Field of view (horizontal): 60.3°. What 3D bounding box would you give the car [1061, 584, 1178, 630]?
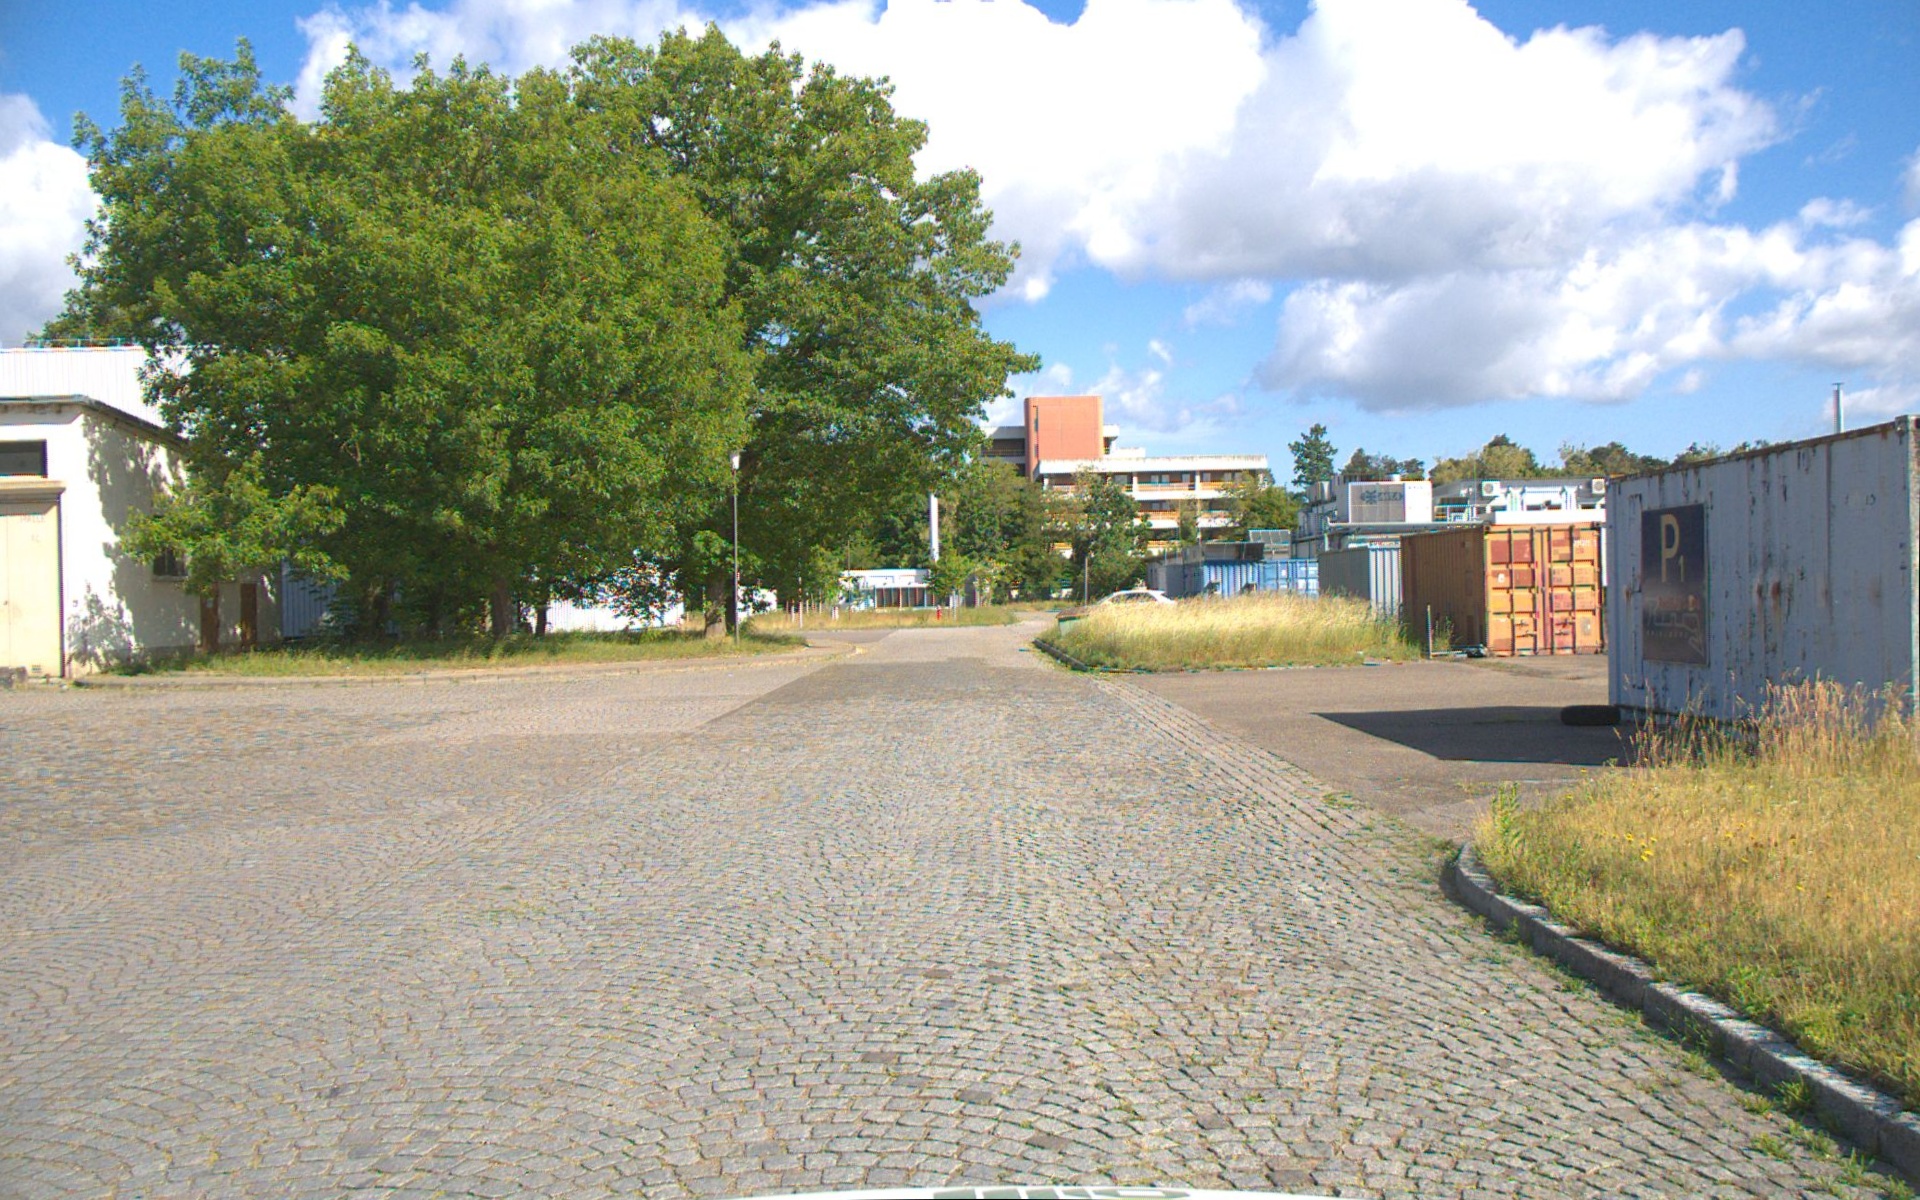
[{"bbox_3d":[6.341,0.269,66.244,4.413,1.676,1.999,-2,0,-2],"label":"car"}]
